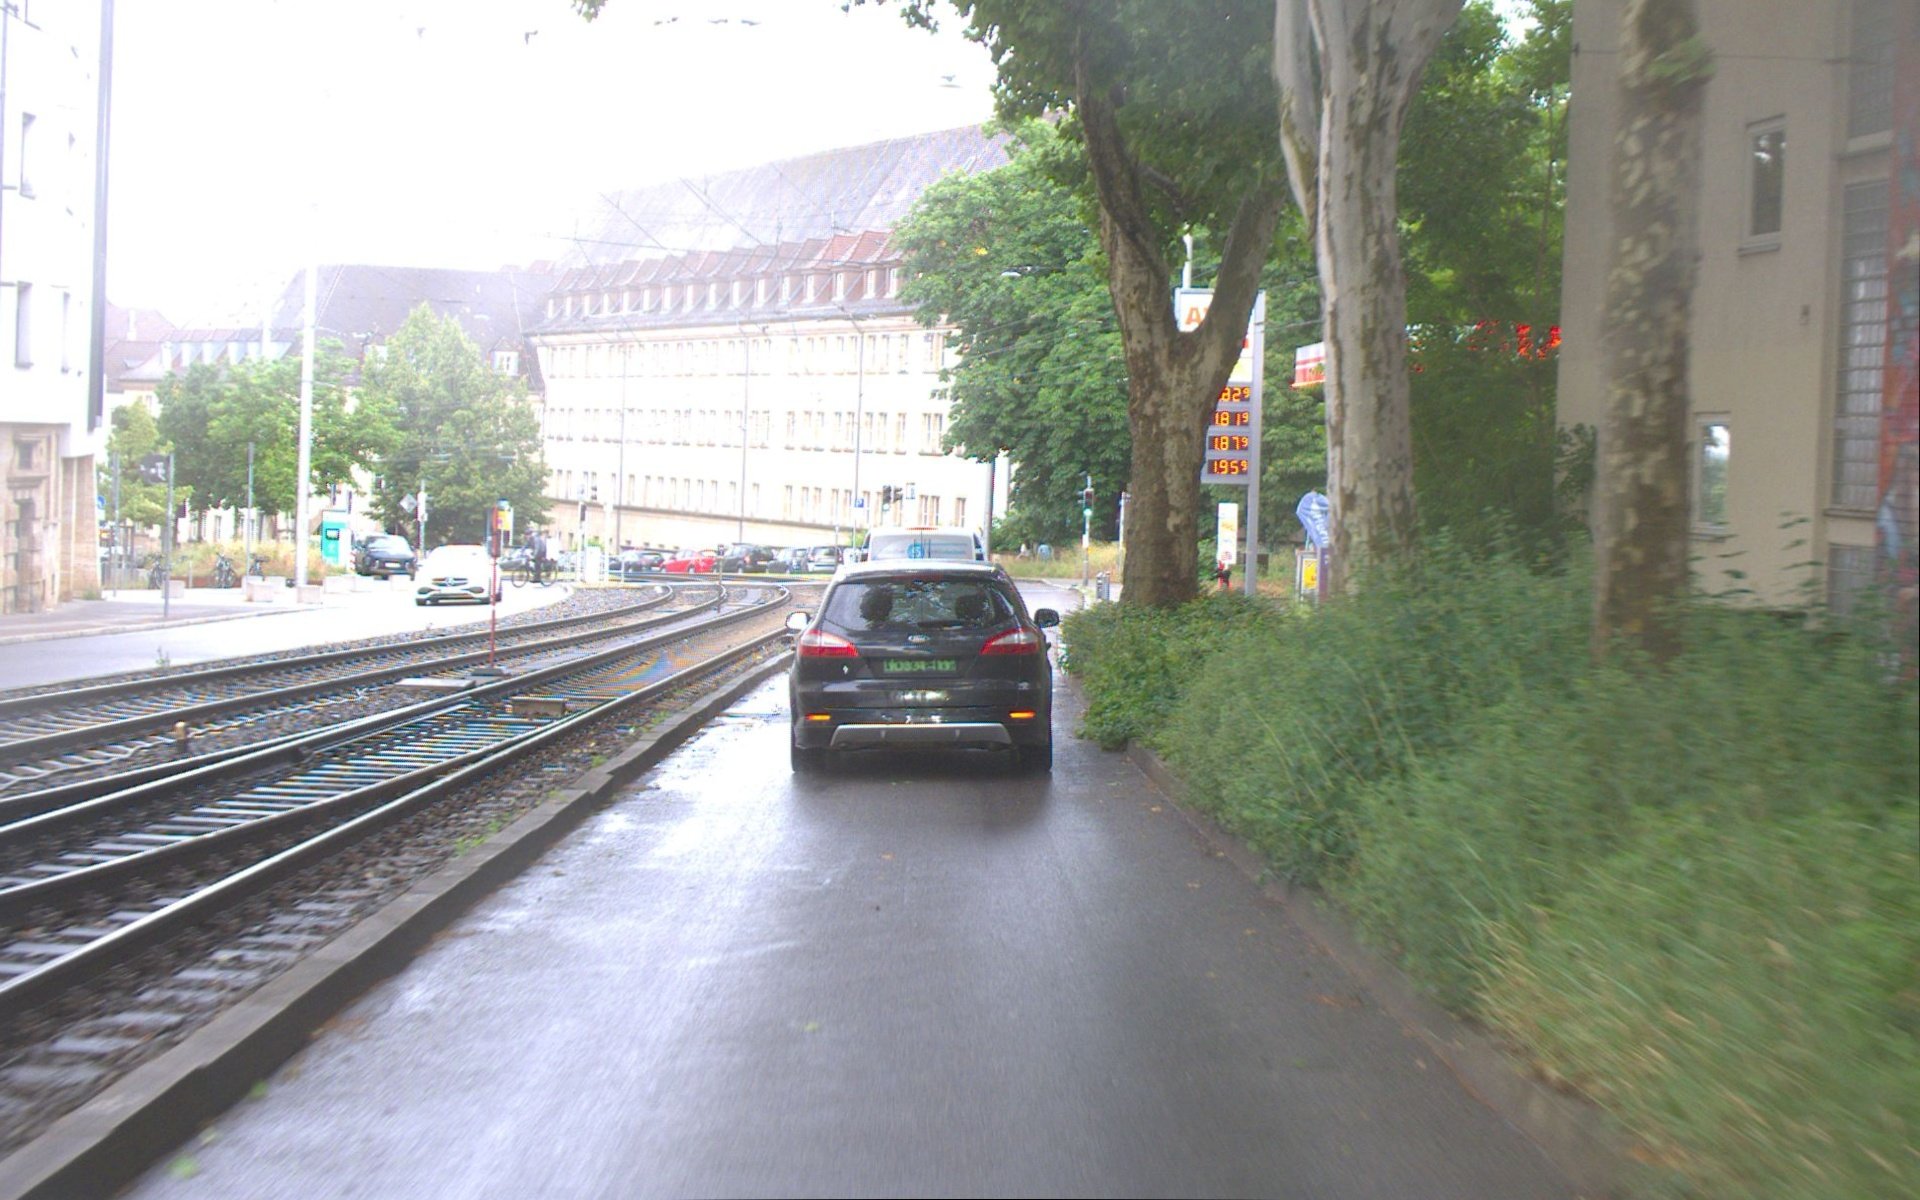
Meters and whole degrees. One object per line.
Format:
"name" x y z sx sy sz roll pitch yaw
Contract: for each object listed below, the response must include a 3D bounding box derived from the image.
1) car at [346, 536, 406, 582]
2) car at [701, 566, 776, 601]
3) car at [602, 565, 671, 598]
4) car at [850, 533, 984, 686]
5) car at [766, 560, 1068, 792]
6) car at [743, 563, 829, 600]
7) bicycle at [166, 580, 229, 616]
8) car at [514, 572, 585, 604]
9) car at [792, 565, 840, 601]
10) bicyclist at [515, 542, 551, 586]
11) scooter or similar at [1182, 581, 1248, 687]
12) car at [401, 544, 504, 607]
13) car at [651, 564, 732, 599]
"car" -20.658 -1.427 121.500 1.993 1.537 4.001 2 0 -10
"car" -10.263 -0.770 159.014 1.581 1.537 4.000 2 0 -35
"car" -15.837 -0.902 167.985 1.993 1.537 4.001 0 1 -28
"car" -0.595 0.127 48.141 1.740 2.007 3.904 2 0 0
"car" -0.343 0.502 24.881 1.933 1.448 4.318 3 0 -2
"car" -7.826 -0.836 154.027 1.994 1.537 4.000 2 0 -35
"bicycle" -23.726 -0.069 106.975 1.813 1.057 0.570 2 0 -3
"car" -20.975 -0.615 175.513 1.993 1.537 4.000 2 0 -33
"car" -6.307 -0.745 150.344 1.657 1.471 3.645 2 0 -9
"bicyclist" -12.869 -1.077 103.615 0.771 1.309 0.791 0 1 -37
"scooter or similar" 3.064 0.419 41.212 0.374 1.230 1.369 1 -2 21
"car" -12.677 -0.588 86.103 1.799 1.477 4.840 2 0 0
"car" -12.771 -0.871 163.283 1.994 1.537 3.999 2 0 -37
